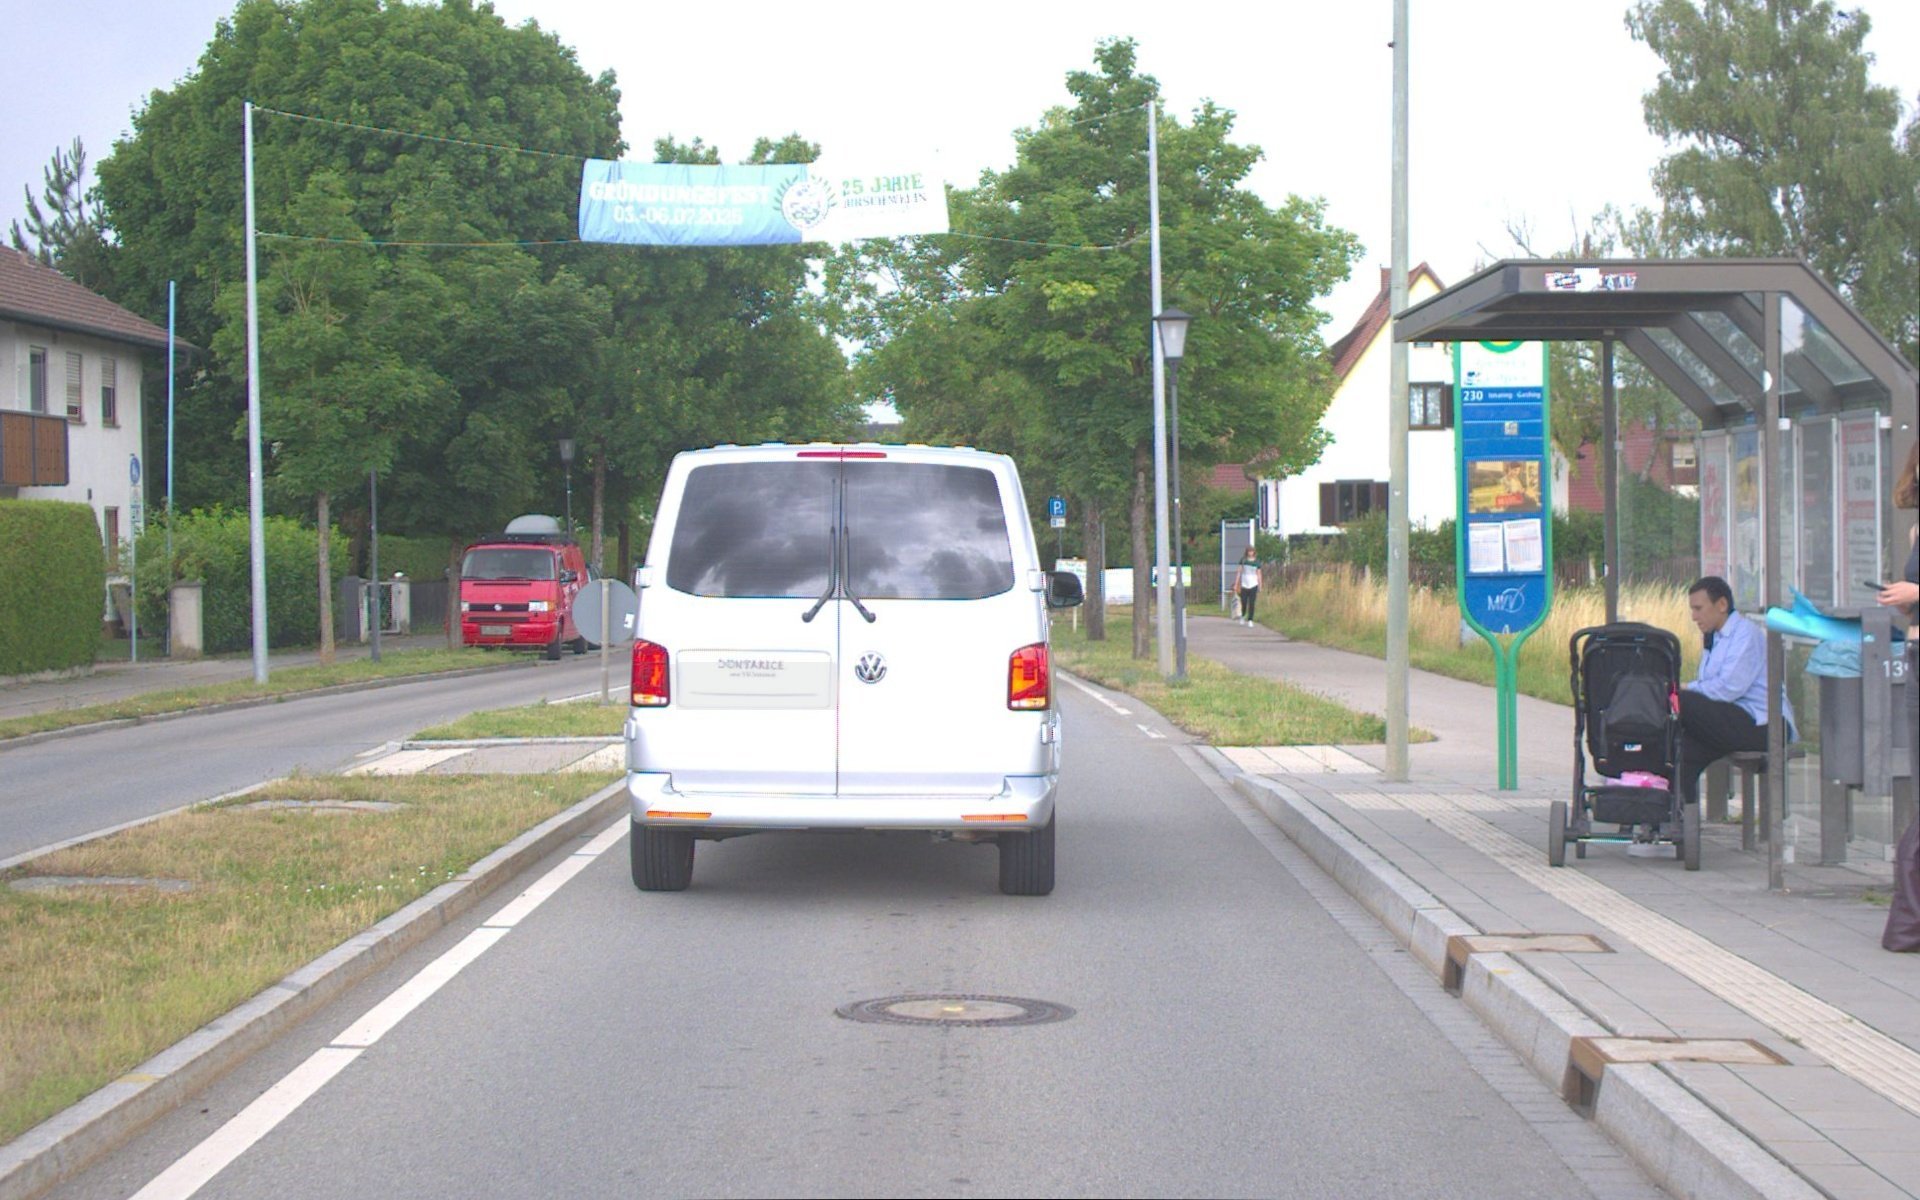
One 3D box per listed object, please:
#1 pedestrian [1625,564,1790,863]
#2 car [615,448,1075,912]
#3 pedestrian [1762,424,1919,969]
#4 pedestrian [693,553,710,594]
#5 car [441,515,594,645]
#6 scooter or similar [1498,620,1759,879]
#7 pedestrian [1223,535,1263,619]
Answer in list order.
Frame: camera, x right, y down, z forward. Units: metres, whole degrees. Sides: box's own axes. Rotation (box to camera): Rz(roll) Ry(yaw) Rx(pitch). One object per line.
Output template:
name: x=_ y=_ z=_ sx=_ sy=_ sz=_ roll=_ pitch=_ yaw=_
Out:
pedestrian: x=3.335 y=0.495 z=15.375 sx=0.665 sy=1.298 sz=0.505 roll=1 pitch=0 yaw=9
car: x=-0.500 y=0.313 z=16.114 sx=1.888 sy=1.905 sz=4.000 roll=0 pitch=0 yaw=-1
pedestrian: x=3.328 y=0.314 z=11.776 sx=0.781 sy=1.786 sz=0.779 roll=1 pitch=1 yaw=-24
pedestrian: x=-9.972 y=-1.022 z=132.780 sx=0.622 sy=1.544 sz=0.522 roll=1 pitch=0 yaw=-4
car: x=-7.312 y=-0.367 z=57.235 sx=1.830 sy=2.023 sz=5.046 roll=1 pitch=1 yaw=0
scooter or similar: x=2.907 y=0.623 z=14.912 sx=0.708 sy=1.058 sz=1.058 roll=1 pitch=0 yaw=37
pedestrian: x=5.948 y=-0.488 z=72.246 sx=0.837 sy=1.749 sz=0.869 roll=0 pitch=1 yaw=5
